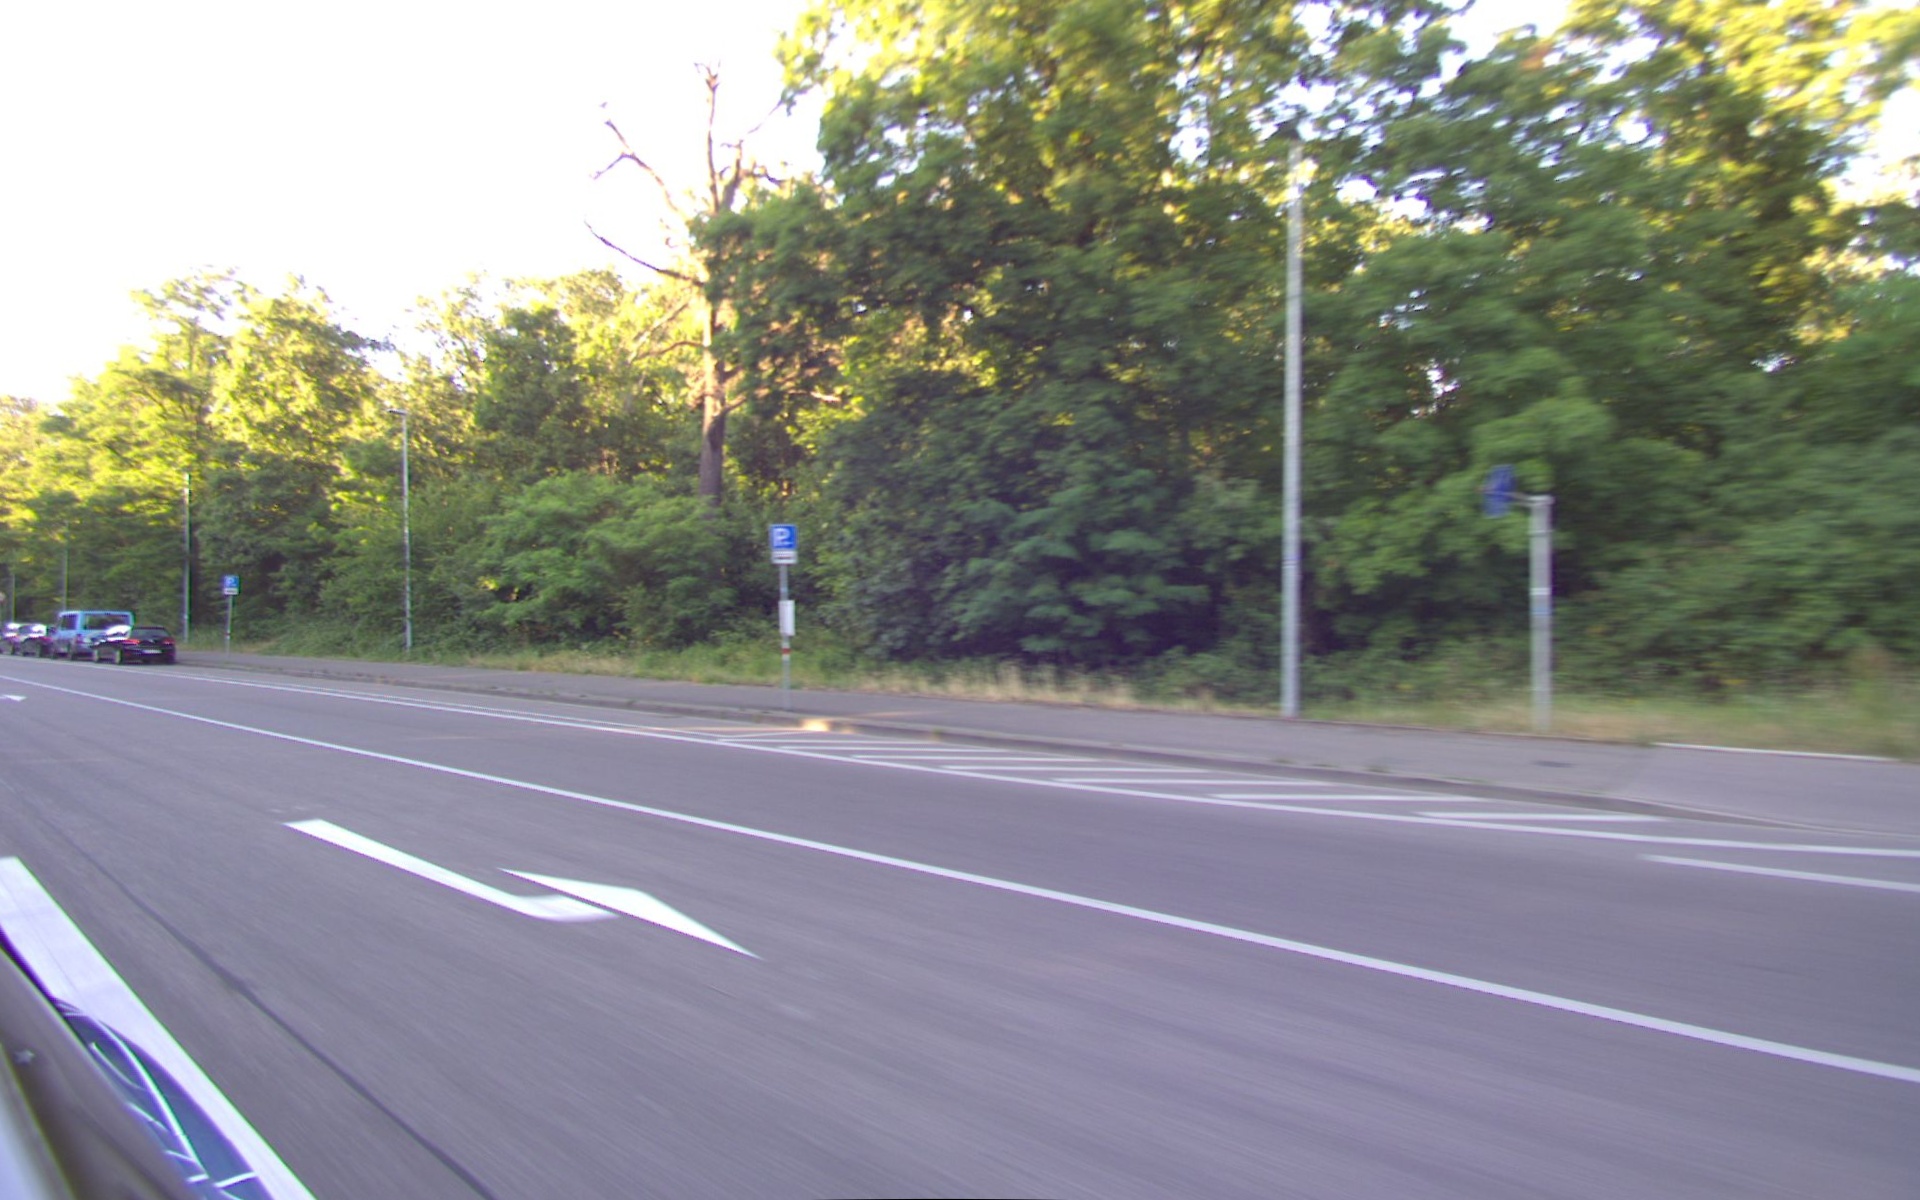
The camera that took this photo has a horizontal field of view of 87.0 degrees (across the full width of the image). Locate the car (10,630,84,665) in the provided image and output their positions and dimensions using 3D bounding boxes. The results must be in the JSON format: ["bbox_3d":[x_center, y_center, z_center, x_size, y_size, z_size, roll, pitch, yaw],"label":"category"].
[{"bbox_3d":[-40.703,2.112,45.098,3.962,1.505,1.529,-1,-3,35],"label":"car"}]

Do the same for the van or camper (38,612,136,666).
[{"bbox_3d":[-36.192,1.608,41.922,5.005,2.110,2.013,-1,-3,37],"label":"van or camper"}]

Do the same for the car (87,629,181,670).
[{"bbox_3d":[-31.414,1.850,38.451,4.234,1.473,1.672,-1,-3,35],"label":"car"}]

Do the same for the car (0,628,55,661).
[{"bbox_3d":[-44.879,2.119,48.331,4.031,1.546,1.602,-1,-3,36],"label":"car"}]
